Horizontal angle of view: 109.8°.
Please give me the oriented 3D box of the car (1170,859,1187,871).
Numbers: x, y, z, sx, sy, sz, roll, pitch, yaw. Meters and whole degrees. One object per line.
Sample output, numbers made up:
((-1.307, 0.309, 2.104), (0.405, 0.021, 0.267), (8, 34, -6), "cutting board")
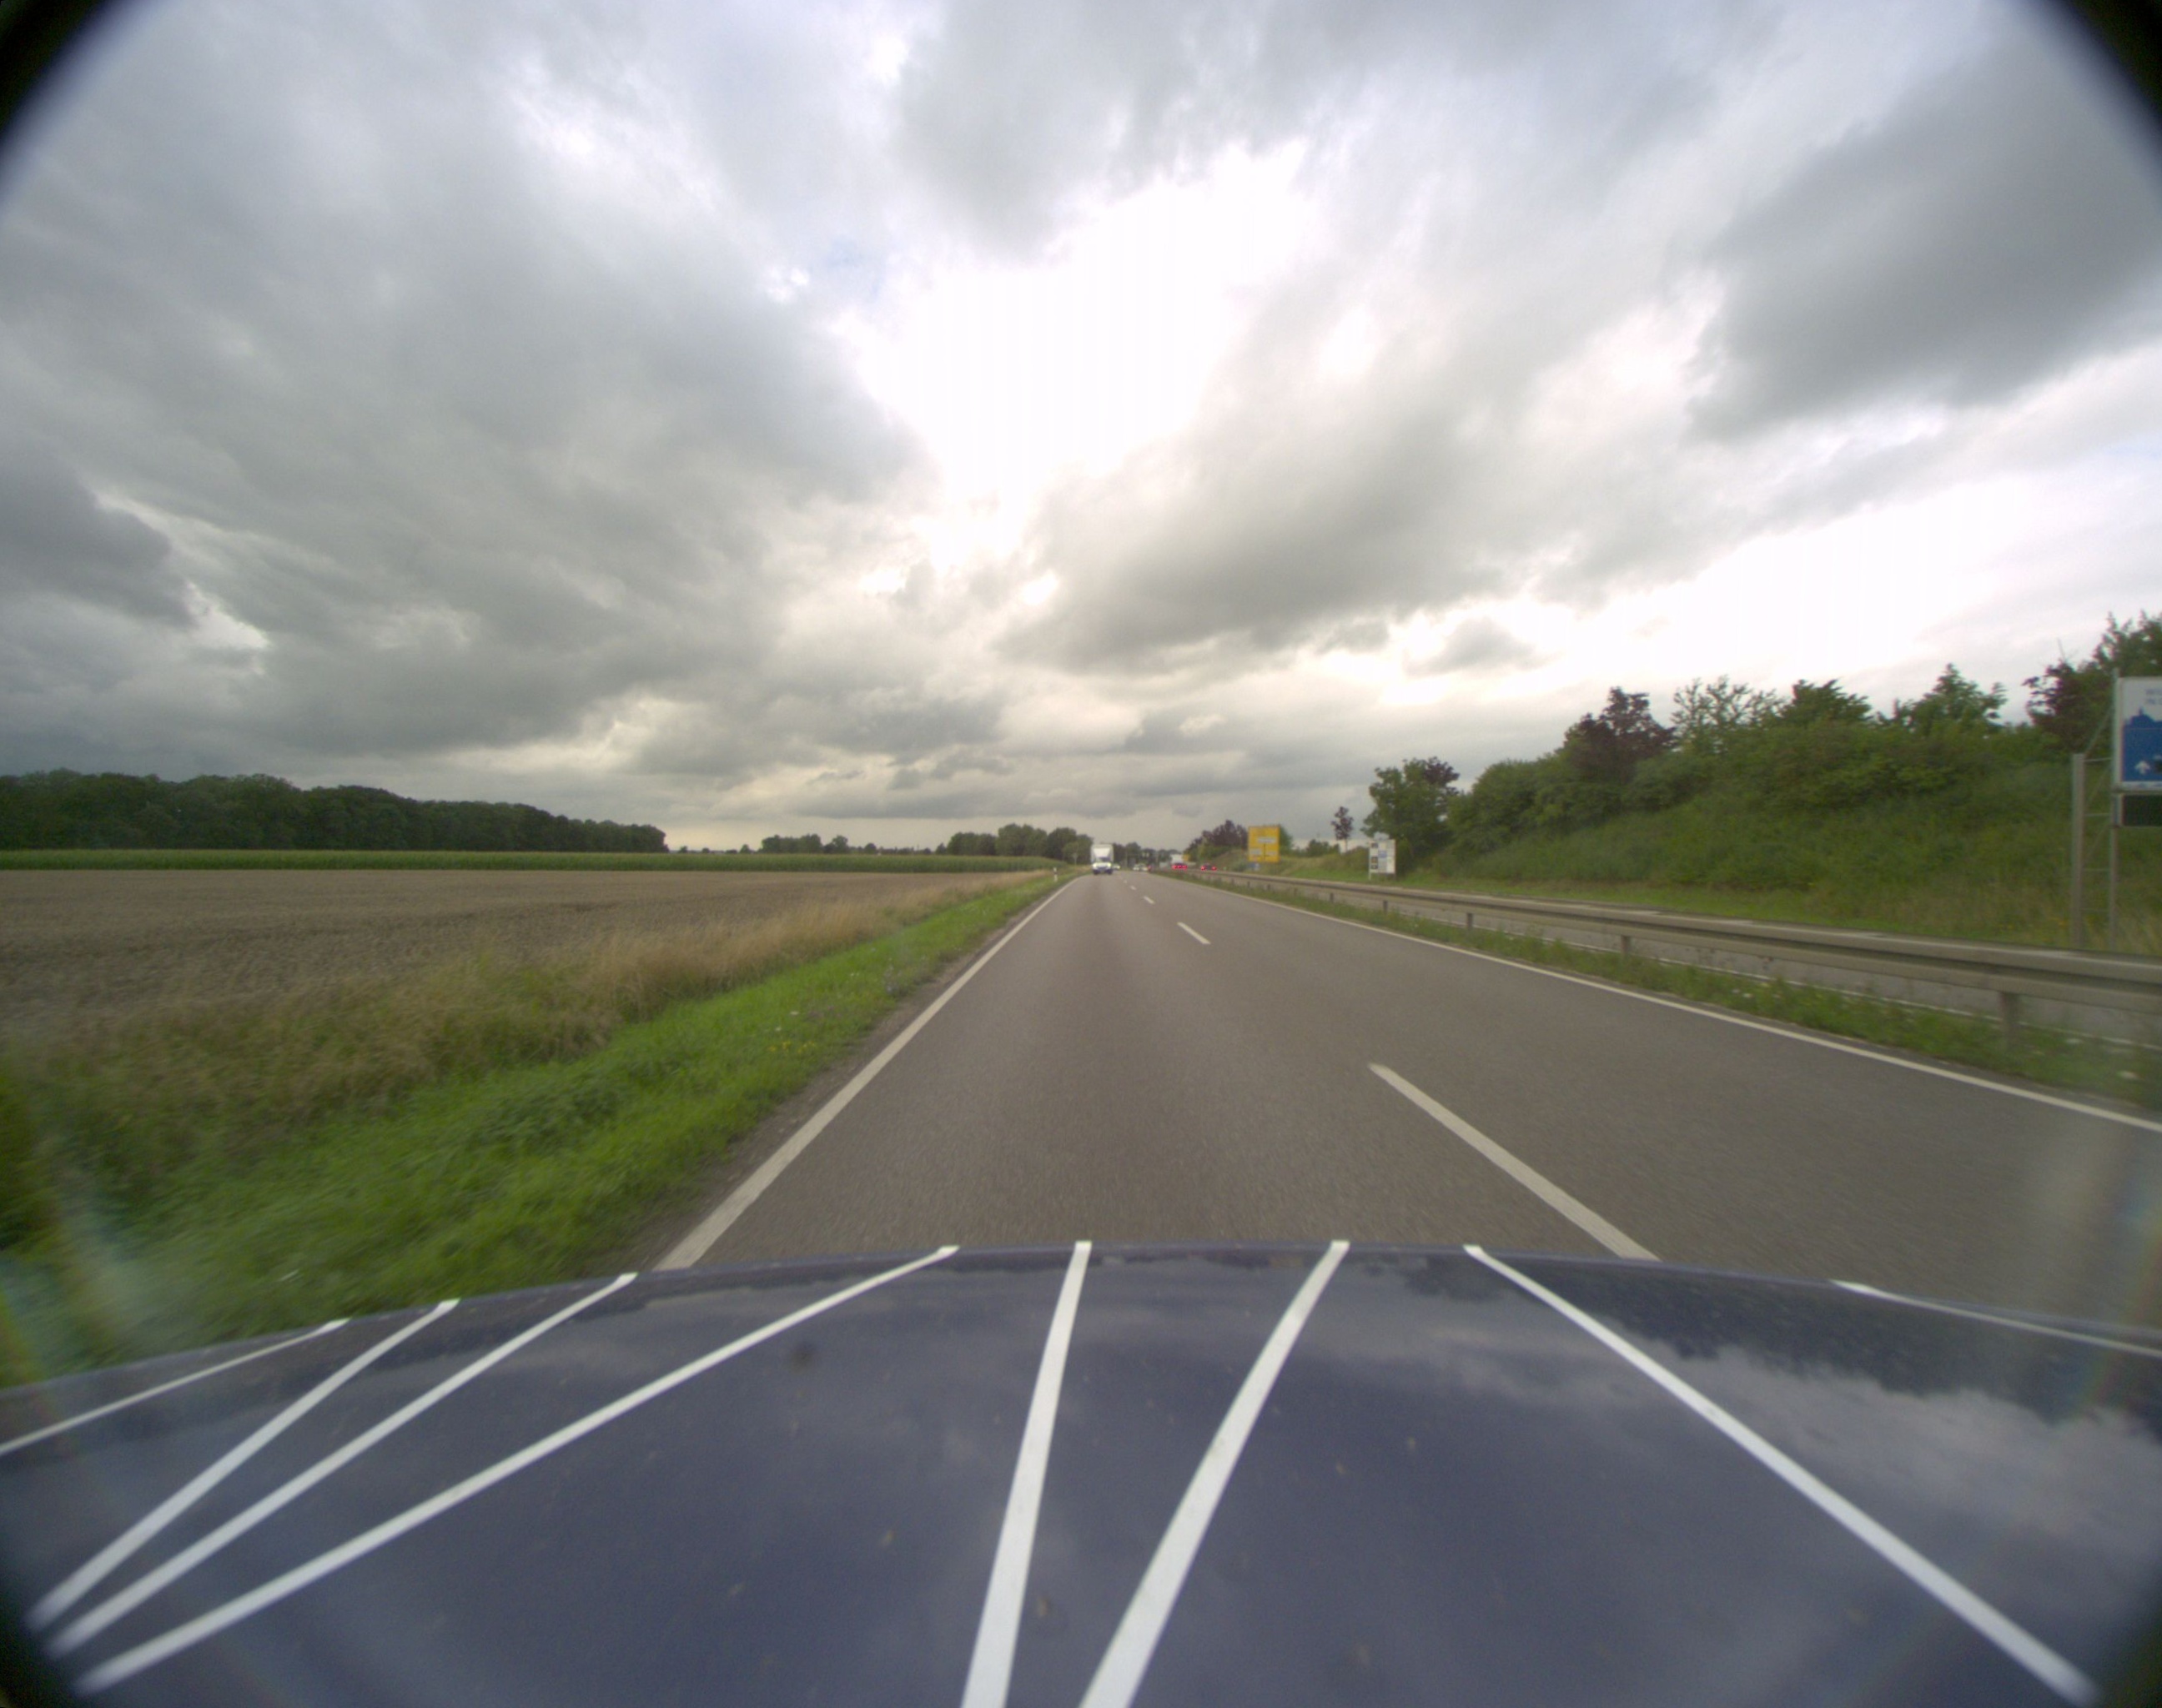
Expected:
((12.225, 1.443, 95.346), (1.758, 1.477, 4.578), (0, -1, 2), "car")

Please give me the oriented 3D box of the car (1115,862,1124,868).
((9.752, 2.707, 192.270), (2.090, 1.510, 4.195), (0, -1, 3), "car")

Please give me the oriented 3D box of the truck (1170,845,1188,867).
((17.966, 0.404, 139.478), (2.809, 3.973, 5.288), (0, -1, 2), "truck")

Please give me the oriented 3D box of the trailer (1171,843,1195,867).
((17.765, 0.320, 132.811), (2.782, 3.923, 12.989), (0, -1, 2), "trailer")

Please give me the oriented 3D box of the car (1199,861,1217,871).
((16.097, 1.511, 96.678), (1.695, 1.316, 4.418), (0, -1, 2), "car")

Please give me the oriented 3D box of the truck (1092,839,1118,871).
((2.955, 0.157, 91.316), (2.934, 3.651, 8.446), (0, -1, 3), "truck")

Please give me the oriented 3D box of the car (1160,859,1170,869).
((21.339, 2.452, 192.425), (2.038, 2.425, 5.637), (2, -1, 2), "car")

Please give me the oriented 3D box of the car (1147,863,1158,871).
((14.574, 2.638, 154.370), (2.090, 1.510, 4.195), (0, -1, 3), "car")
